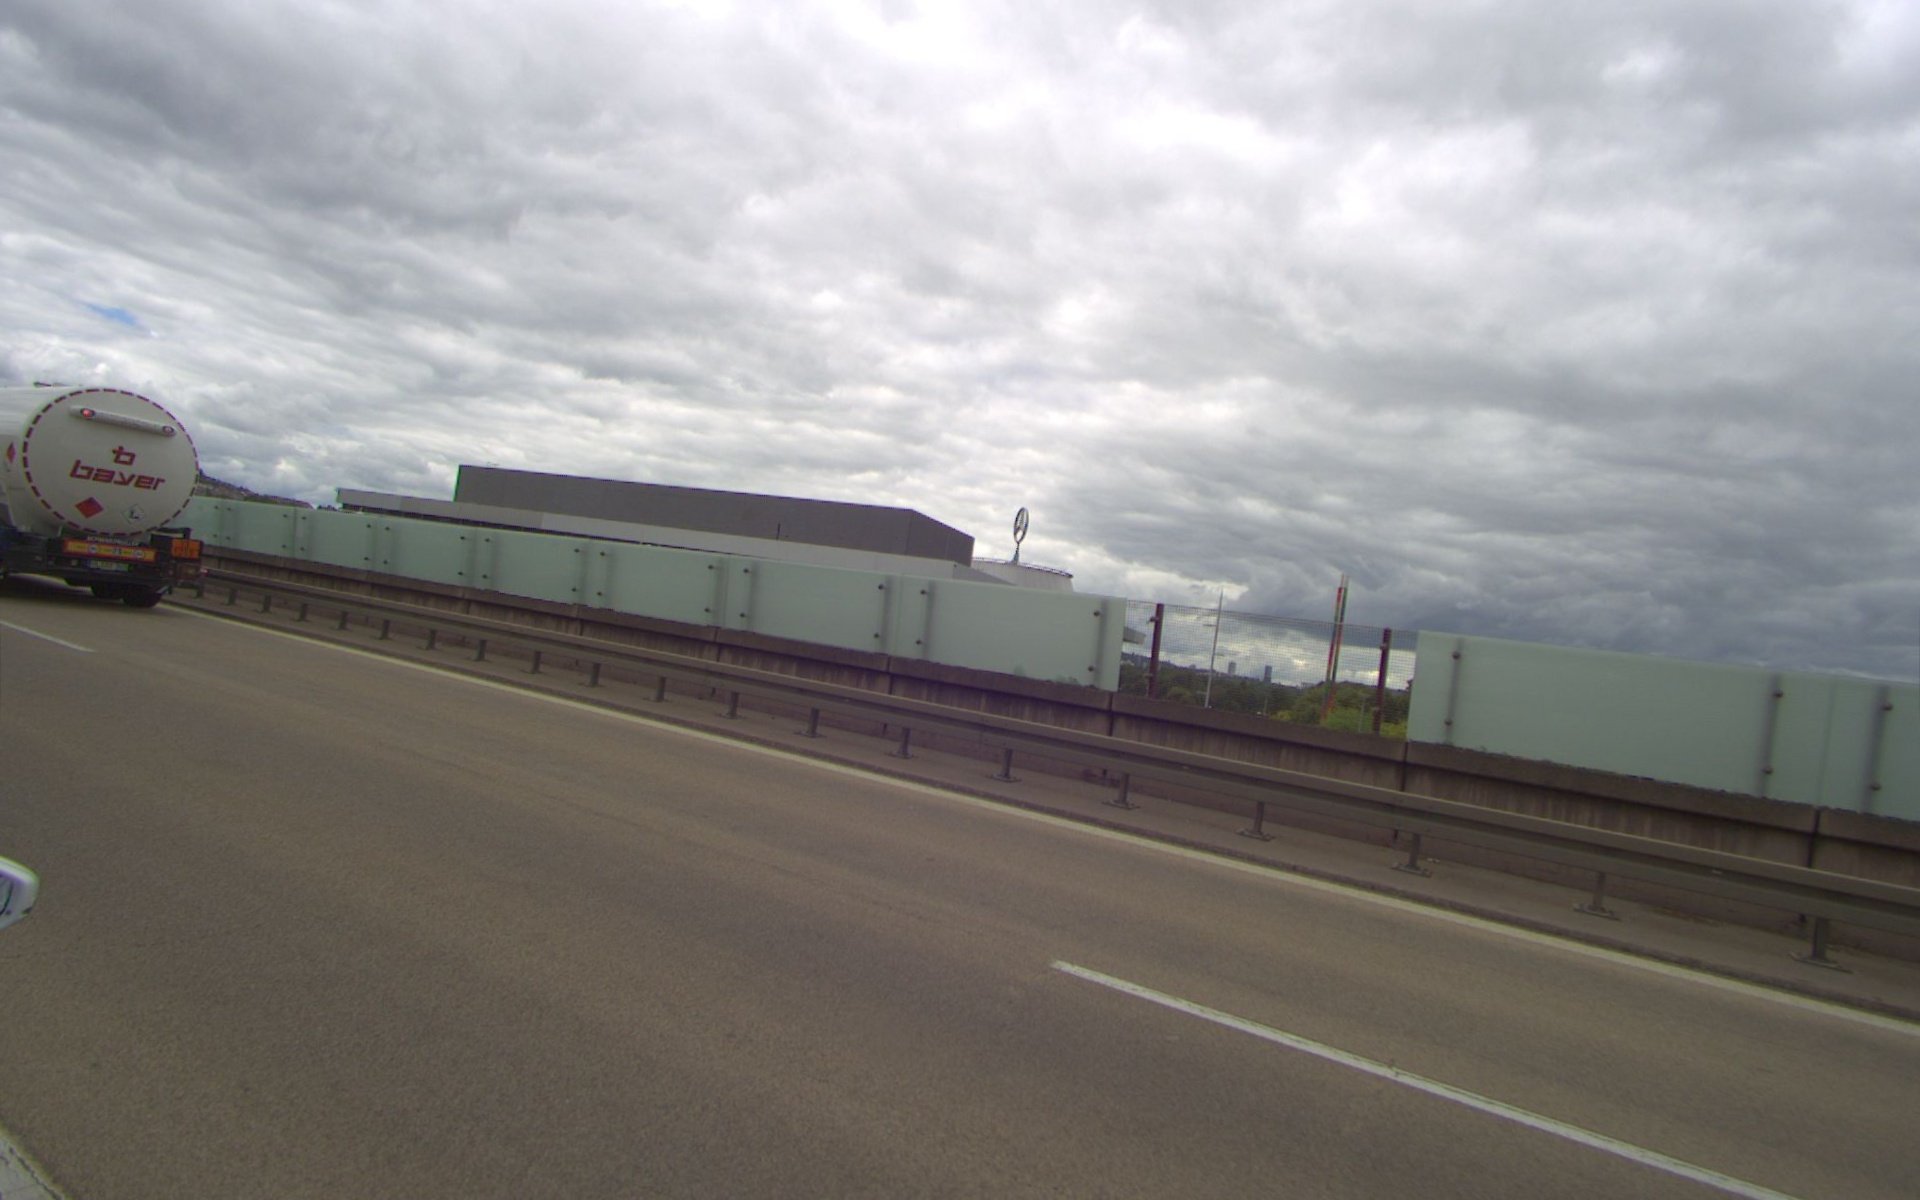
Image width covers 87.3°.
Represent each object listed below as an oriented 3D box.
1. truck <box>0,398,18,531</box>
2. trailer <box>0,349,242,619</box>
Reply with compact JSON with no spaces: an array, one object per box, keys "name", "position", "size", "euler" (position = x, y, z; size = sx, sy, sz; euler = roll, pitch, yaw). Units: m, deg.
[{"name":"truck","position":[-22.910,-2.814,21.412],"size":[4.821,3.554,2.637],"euler":[7,-1,31]},{"name":"trailer","position":[-17.261,-2.141,18.012],"size":[11.031,3.584,2.656],"euler":[7,-2,31]}]
